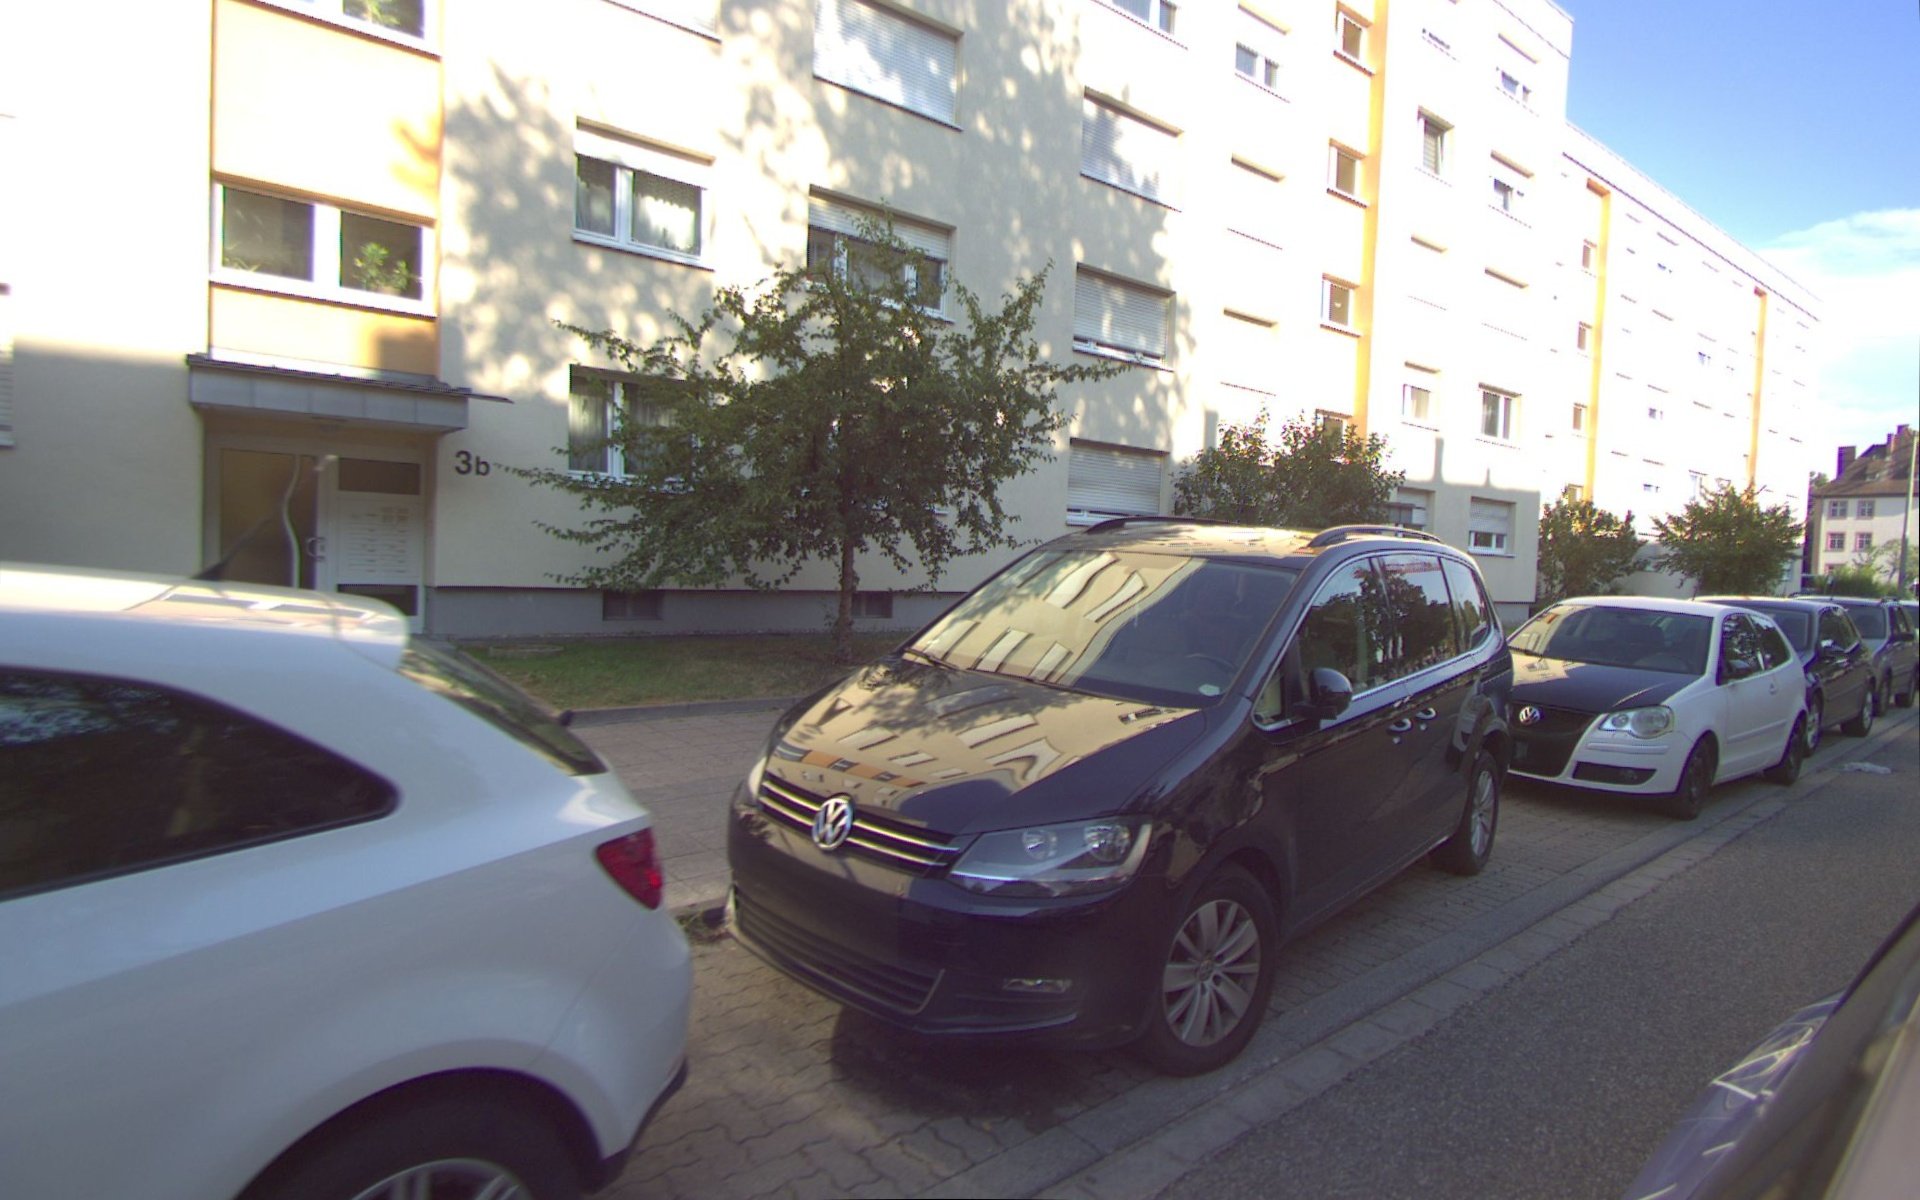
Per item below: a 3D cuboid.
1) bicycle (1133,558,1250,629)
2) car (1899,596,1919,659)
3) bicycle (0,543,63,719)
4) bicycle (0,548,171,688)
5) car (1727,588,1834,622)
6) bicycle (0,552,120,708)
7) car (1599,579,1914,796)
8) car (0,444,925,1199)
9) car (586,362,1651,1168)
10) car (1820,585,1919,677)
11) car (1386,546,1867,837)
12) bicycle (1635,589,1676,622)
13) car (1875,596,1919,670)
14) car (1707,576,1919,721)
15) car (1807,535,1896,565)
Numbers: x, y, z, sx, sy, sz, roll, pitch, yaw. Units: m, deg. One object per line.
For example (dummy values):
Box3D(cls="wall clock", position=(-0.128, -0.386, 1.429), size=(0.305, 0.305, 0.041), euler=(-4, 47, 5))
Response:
Box3D(cls="bicycle", position=(3.997, -0.125, 17.372), size=(2.350, 1.126, 0.495), euler=(-1, 7, -37))
Box3D(cls="car", position=(25.252, 0.619, 25.560), size=(3.931, 1.472, 1.774), euler=(-1, -3, -41))
Box3D(cls="bicycle", position=(-6.893, 0.161, 5.971), size=(2.351, 1.095, 0.601), euler=(2, 2, -41))
Box3D(cls="bicycle", position=(-7.869, 0.127, 8.138), size=(2.351, 1.095, 0.601), euler=(2, 2, -41))
Box3D(cls="car", position=(47.744, 0.245, 58.968), size=(1.700, 1.621, 4.492), euler=(-1, 4, -37))
Box3D(cls="bicycle", position=(-7.412, 0.195, 7.060), size=(2.351, 1.095, 0.601), euler=(2, 2, -41))
Box3D(cls="car", position=(8.844, 0.757, 11.137), size=(3.909, 1.792, 1.843), euler=(-1, 7, -40))
Box3D(cls="car", position=(-2.365, 0.528, 1.202), size=(4.642, 1.433, 1.682), euler=(-1, 2, -41))
Box3D(cls="car", position=(1.078, 0.265, 4.498), size=(4.683, 1.770, 2.030), euler=(0, 6, -41))
Box3D(cls="car", position=(17.554, 0.526, 18.796), size=(3.933, 1.460, 1.877), euler=(-1, 5, -43))
Box3D(cls="car", position=(5.254, 0.457, 7.790), size=(4.098, 1.518, 1.843), euler=(-1, 8, -40))
Box3D(cls="bicycle", position=(20.956, 0.164, 30.477), size=(1.757, 0.953, 0.439), euler=(-1, 1, -35))
Box3D(cls="car", position=(21.519, 0.680, 22.190), size=(4.238, 1.456, 1.664), euler=(-1, 1, -41))
Box3D(cls="car", position=(12.708, 0.552, 14.713), size=(4.204, 1.623, 1.968), euler=(-1, 7, -41))
Box3D(cls="car", position=(56.554, -3.141, 64.232), size=(1.965, 1.816, 3.995), euler=(-1, 1, -39))
